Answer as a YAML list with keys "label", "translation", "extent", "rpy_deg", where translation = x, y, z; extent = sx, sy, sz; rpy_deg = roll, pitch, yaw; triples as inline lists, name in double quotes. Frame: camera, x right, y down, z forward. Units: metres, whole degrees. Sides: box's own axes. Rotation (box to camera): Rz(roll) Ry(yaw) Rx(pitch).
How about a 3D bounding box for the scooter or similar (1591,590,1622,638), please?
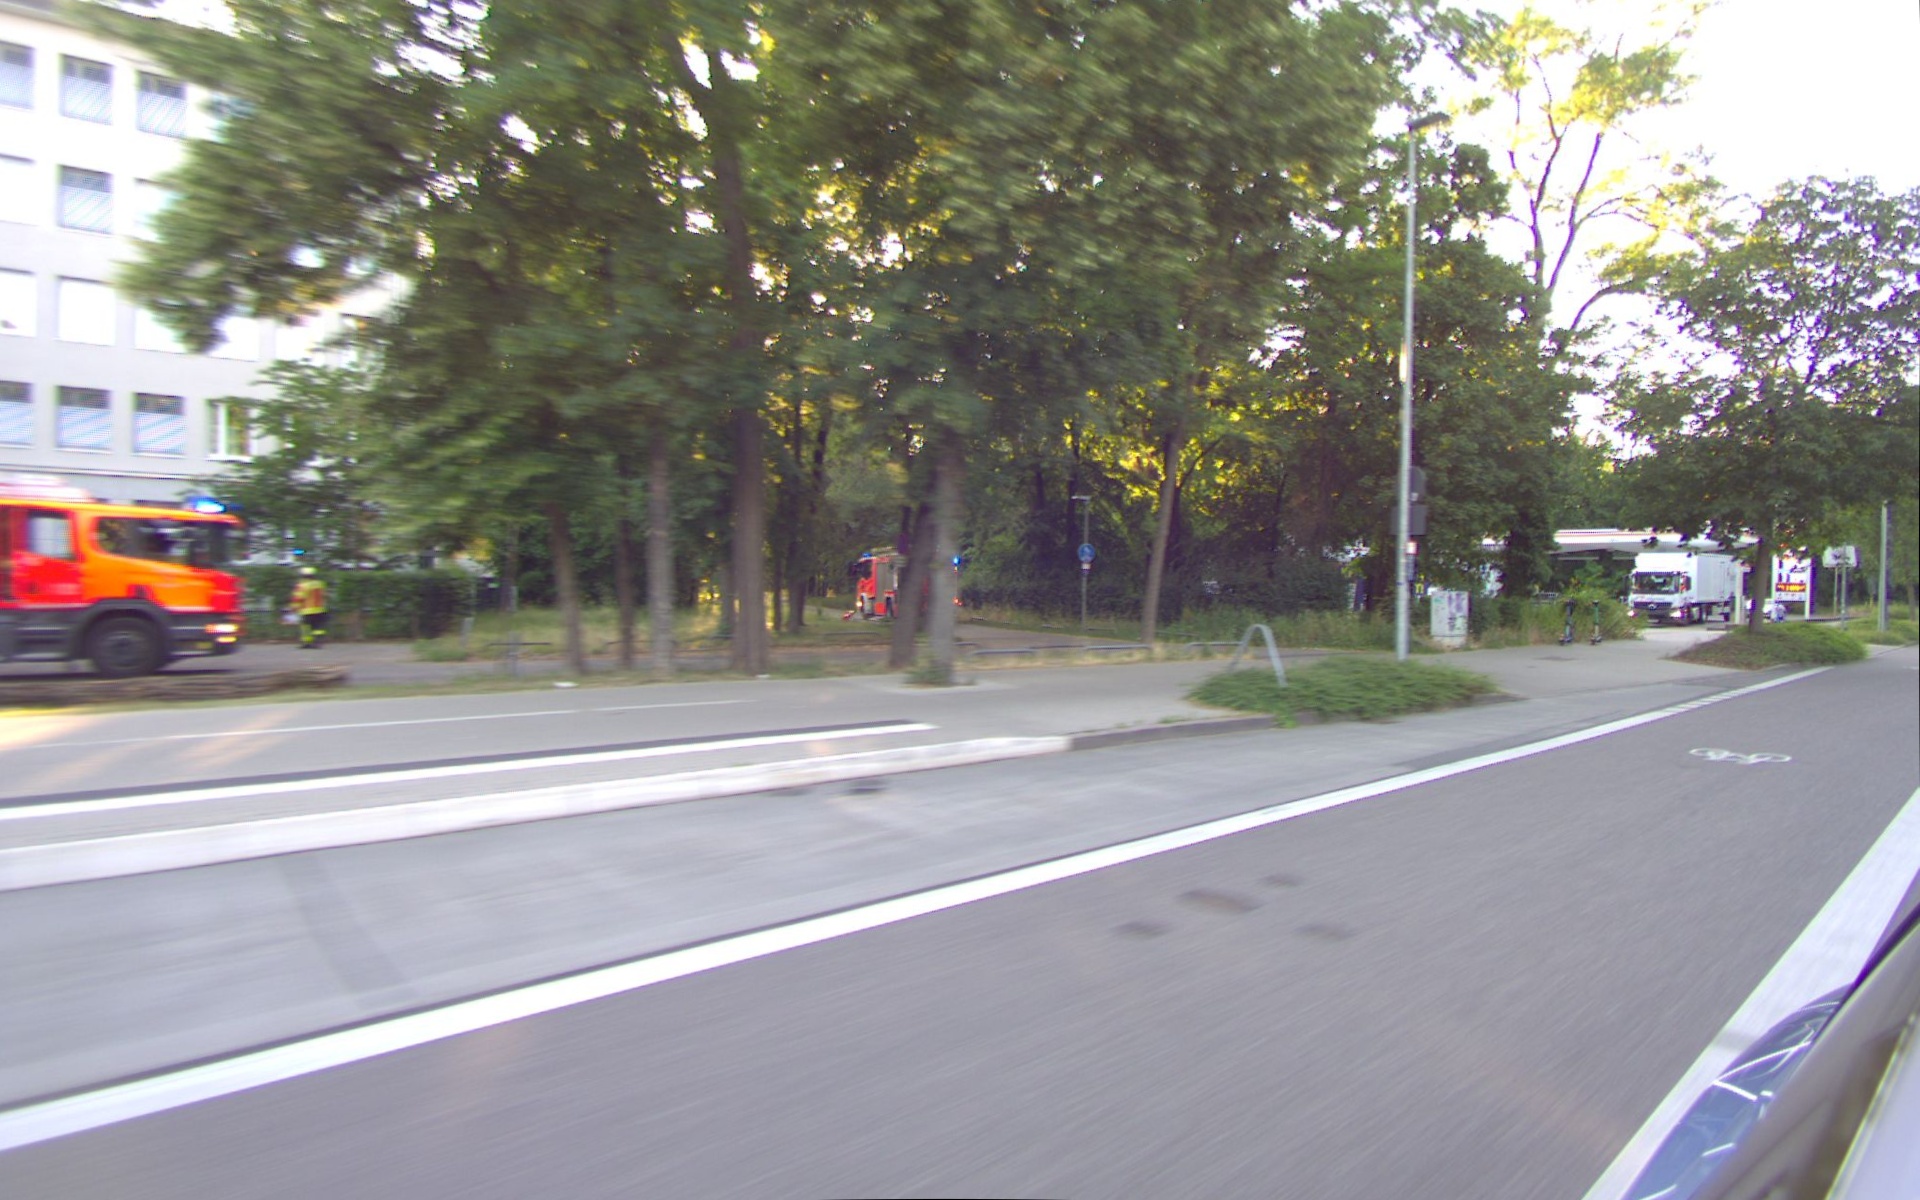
- label: "scooter or similar"
  translation: [18.149, 0.379, 28.422]
  extent: [0.482, 1.298, 1.122]
  rpy_deg: [3, 2, 43]

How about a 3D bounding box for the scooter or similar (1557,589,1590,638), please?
- label: "scooter or similar"
  translation: [16.842, 0.365, 27.778]
  extent: [0.482, 1.298, 1.212]
  rpy_deg: [3, 2, 43]

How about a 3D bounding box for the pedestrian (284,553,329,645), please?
- label: "pedestrian"
  translation: [-14.937, -0.027, 23.130]
  extent: [0.770, 2.039, 0.762]
  rpy_deg: [0, 0, -41]

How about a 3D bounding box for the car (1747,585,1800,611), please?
- label: "car"
  translation: [54.070, -0.143, 67.250]
  extent: [4.628, 1.611, 1.997]
  rpy_deg: [0, 0, -41]

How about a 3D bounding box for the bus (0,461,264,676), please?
- label: "bus"
  translation: [-15.924, -0.470, 16.073]
  extent: [7.806, 3.236, 3.000]
  rpy_deg: [0, 0, -31]

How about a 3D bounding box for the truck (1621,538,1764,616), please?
- label: "truck"
  translation: [40.584, -1.162, 55.676]
  extent: [15.614, 3.776, 3.222]
  rpy_deg: [0, 0, -42]

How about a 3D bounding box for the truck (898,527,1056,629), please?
- label: "truck"
  translation: [0.336, -0.791, 36.992]
  extent: [2.703, 3.251, 8.683]
  rpy_deg: [0, 1, -21]
